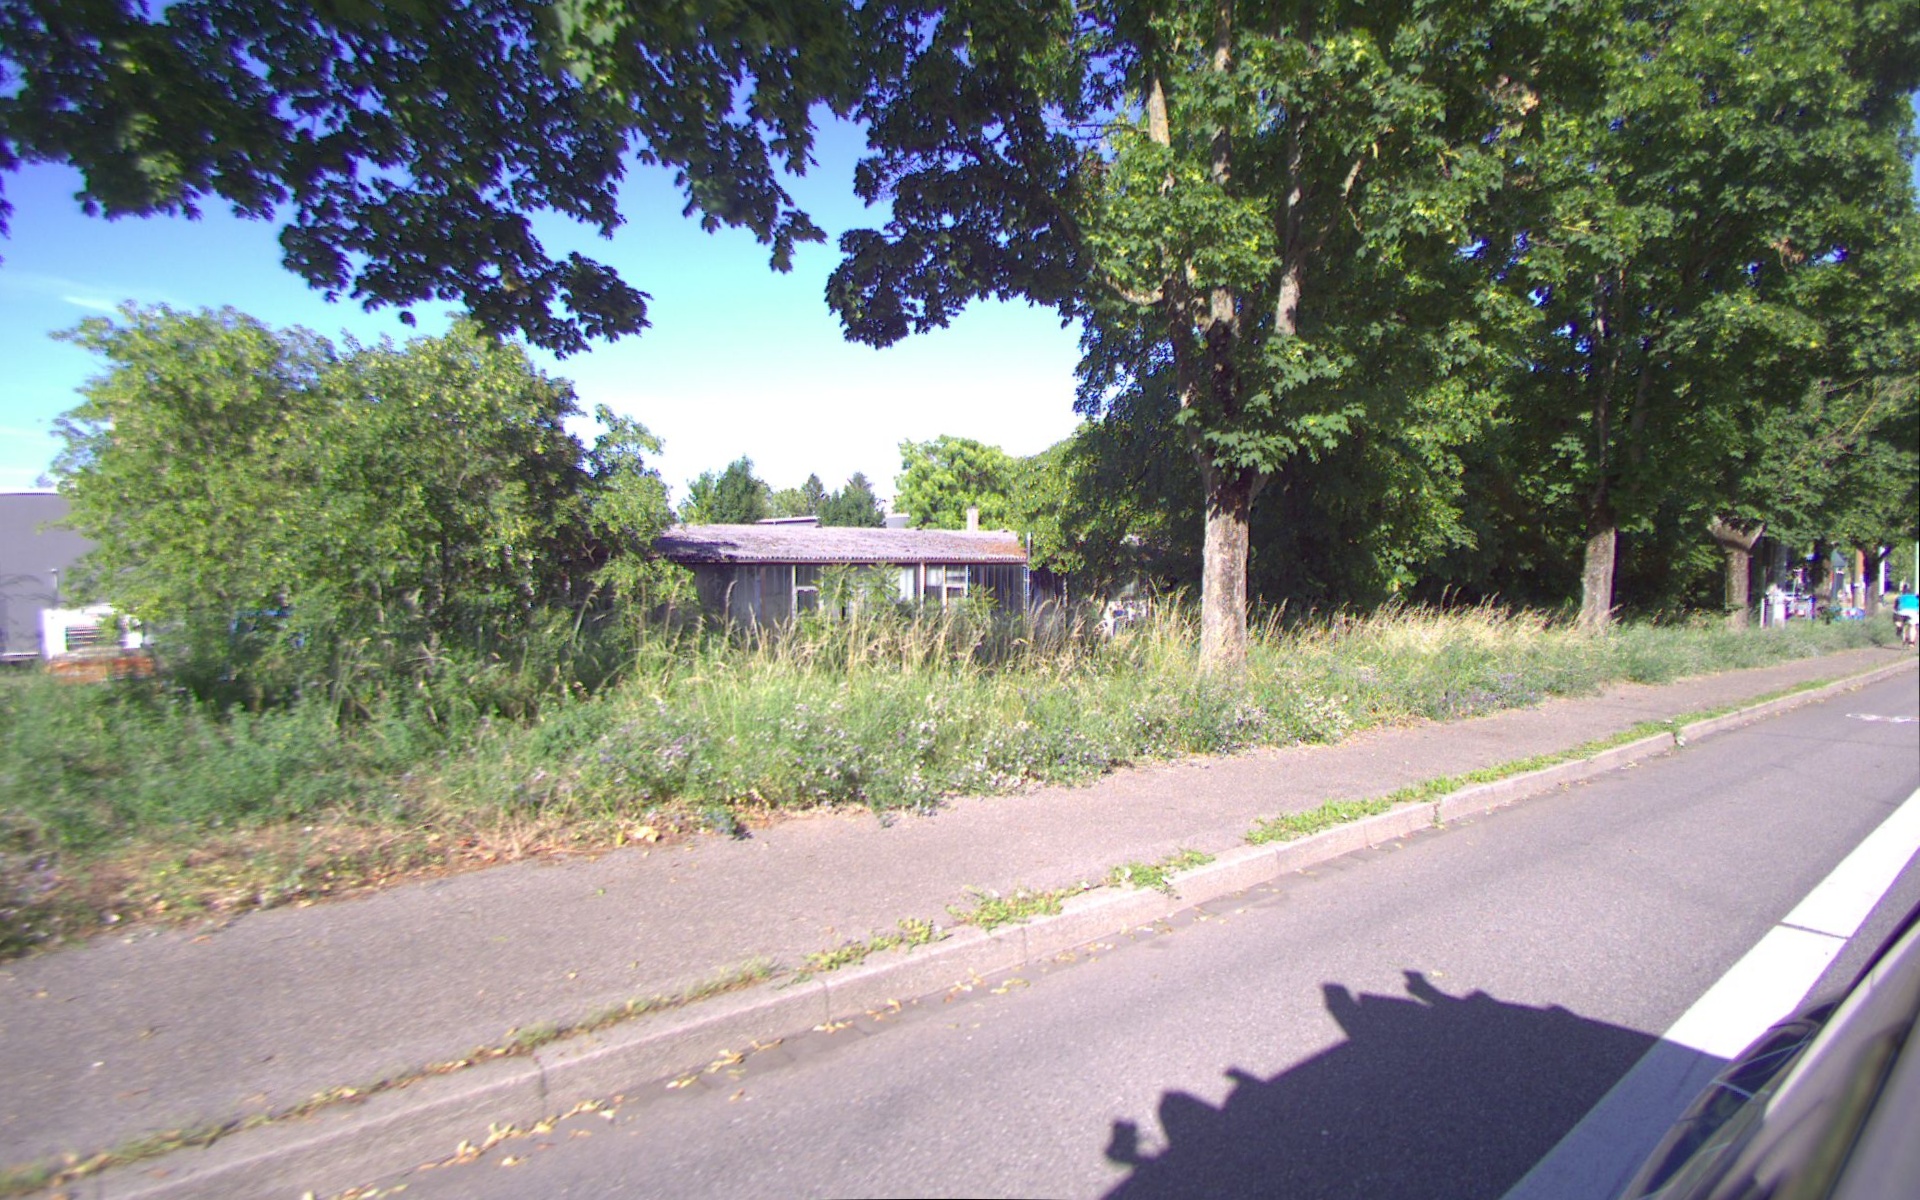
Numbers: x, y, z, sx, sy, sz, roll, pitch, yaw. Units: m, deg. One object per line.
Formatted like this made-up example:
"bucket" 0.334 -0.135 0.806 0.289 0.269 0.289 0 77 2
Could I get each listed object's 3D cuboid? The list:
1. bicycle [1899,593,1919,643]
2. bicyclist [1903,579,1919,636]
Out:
"bicycle" 27.312 0.481 28.798 2.201 1.369 0.646 -1 0 -41
"bicyclist" 27.317 0.196 28.784 0.686 1.604 0.655 0 0 -41
